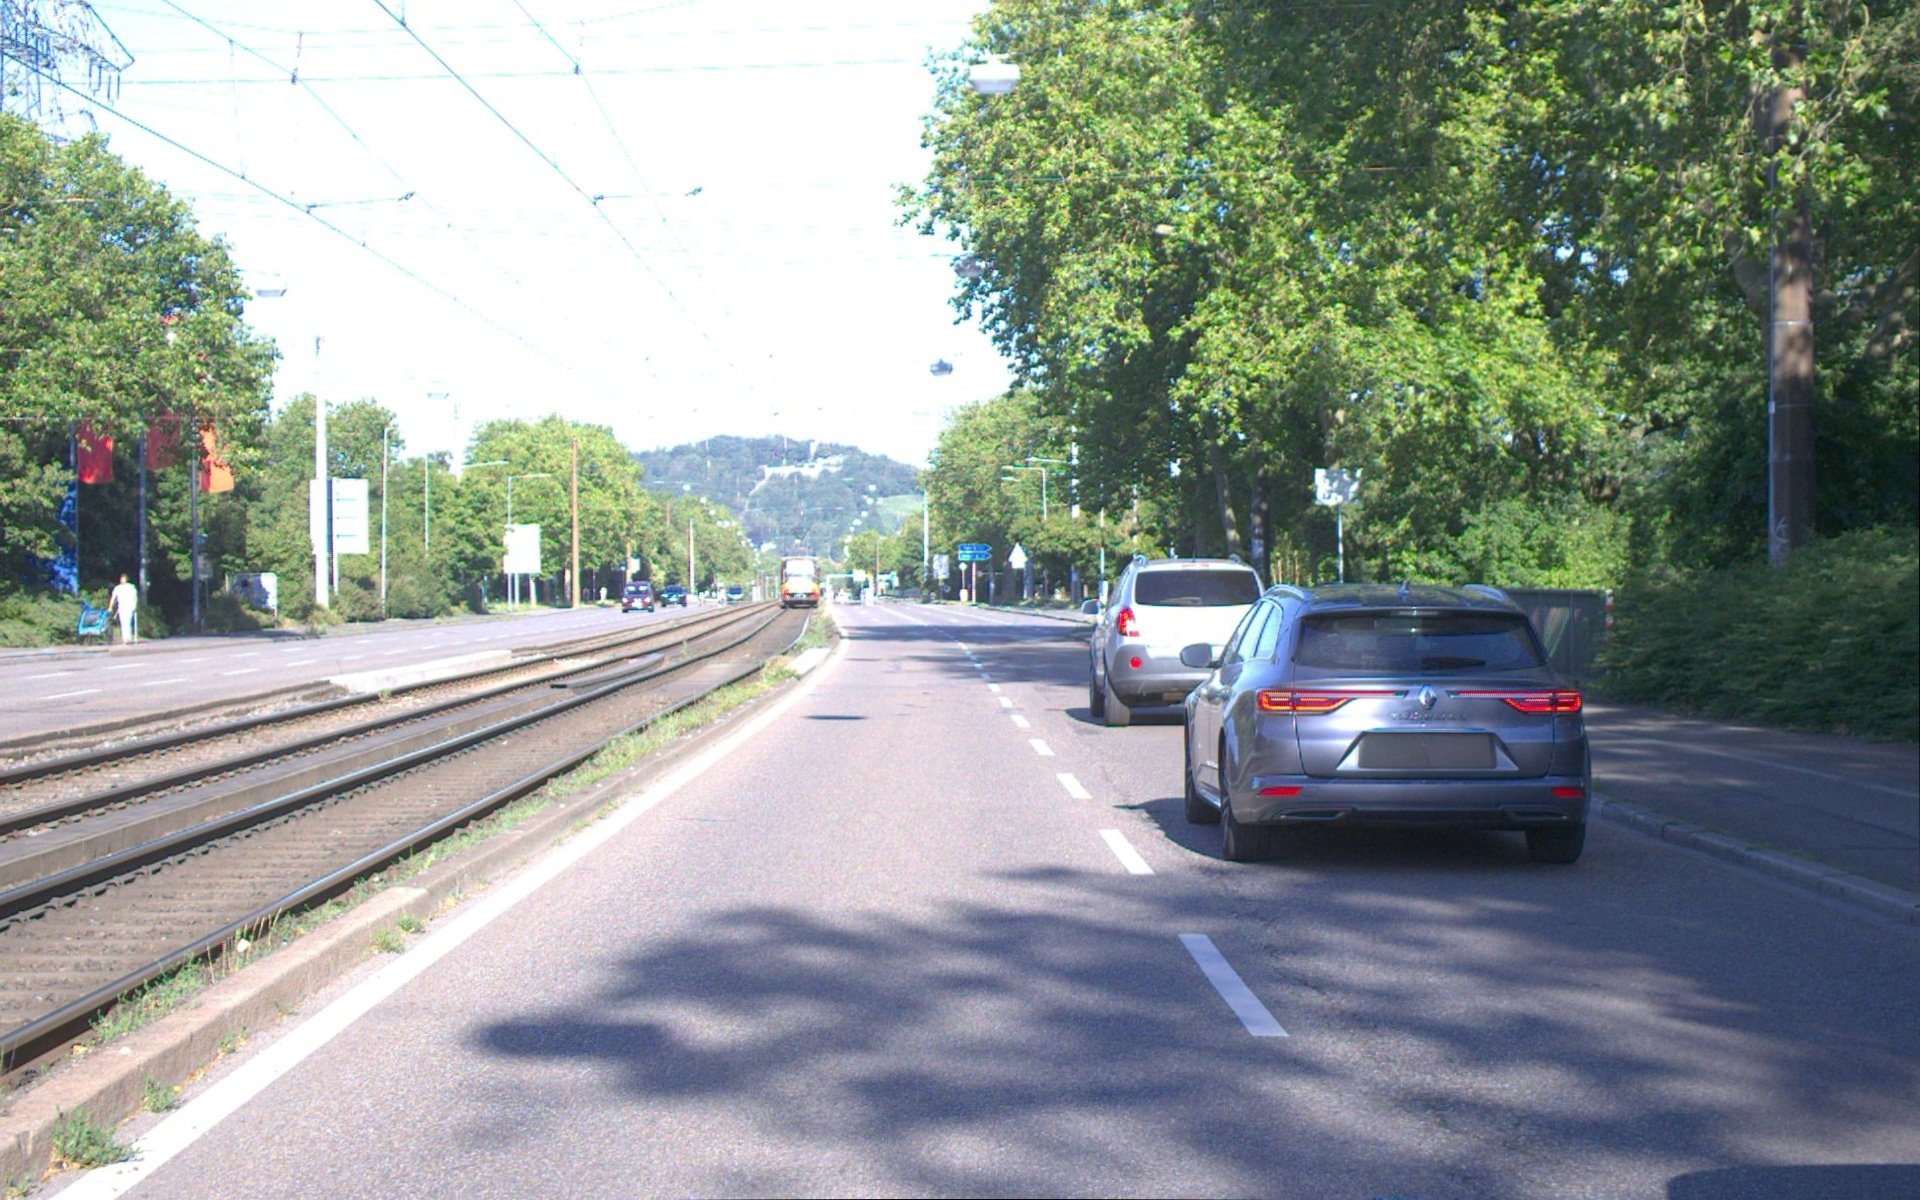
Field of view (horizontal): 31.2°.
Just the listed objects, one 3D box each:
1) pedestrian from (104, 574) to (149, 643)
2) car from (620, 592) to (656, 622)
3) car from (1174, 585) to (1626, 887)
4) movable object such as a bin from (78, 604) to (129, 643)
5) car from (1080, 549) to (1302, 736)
[{"bbox_3d":[-21.482,0.228,88.605,0.725,1.750,0.834,2,-1,21],"label":"pedestrian"},{"bbox_3d":[-19.068,0.418,203.831,1.862,1.714,4.000,0,1,-2],"label":"car"},{"bbox_3d":[2.286,0.650,19.057,1.866,1.462,4.666,0,0,-1],"label":"car"},{"bbox_3d":[-21.840,0.602,87.697,0.725,0.958,1.100,2,-1,21],"label":"movable object such as a bin"},{"bbox_3d":[2.353,0.392,35.989,1.883,1.789,4.000,2,1,-2],"label":"car"}]
